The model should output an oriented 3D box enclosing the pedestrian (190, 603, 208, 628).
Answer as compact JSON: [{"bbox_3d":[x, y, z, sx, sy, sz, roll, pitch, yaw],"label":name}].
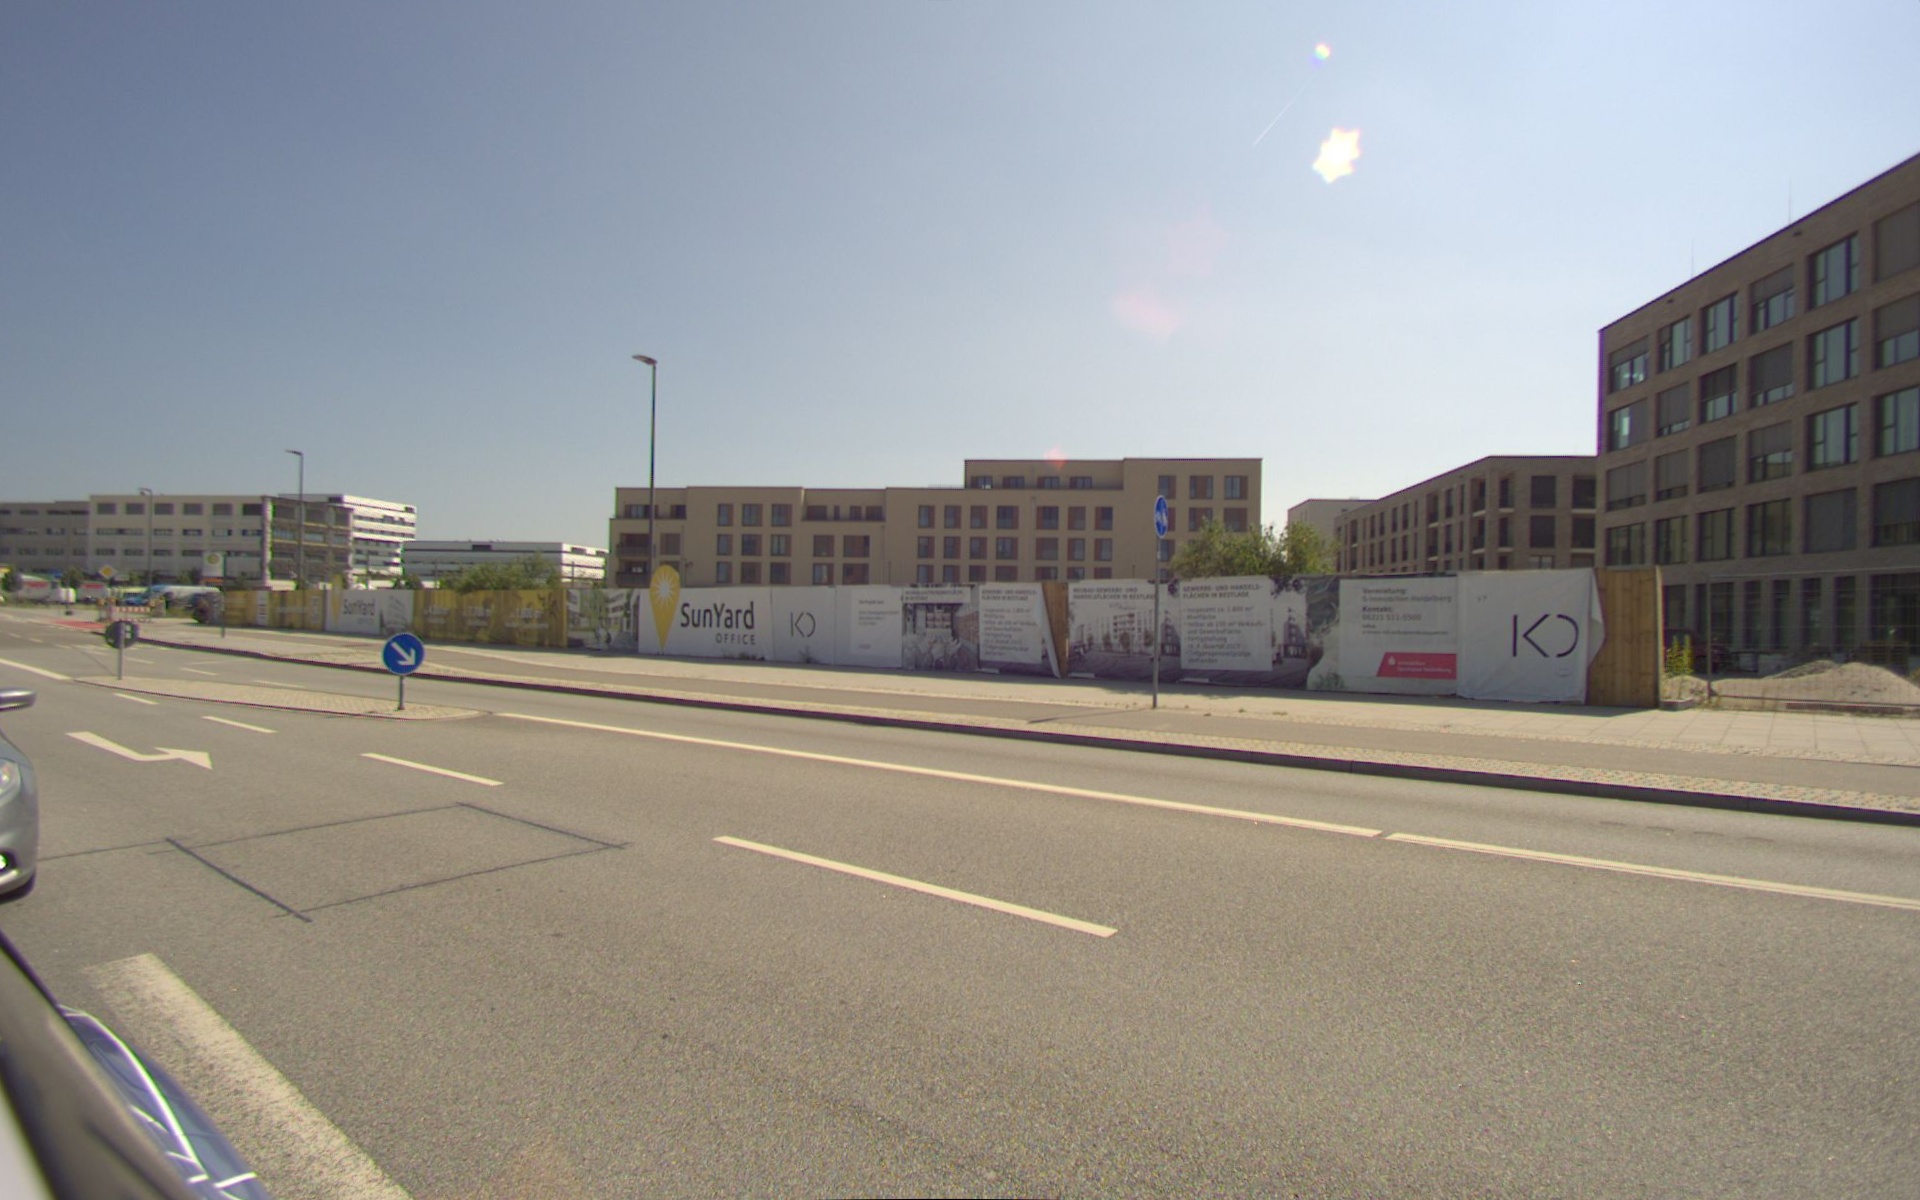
[{"bbox_3d":[-48.540,0.971,64.561,0.610,1.598,0.703,-1,0,5],"label":"pedestrian"}]

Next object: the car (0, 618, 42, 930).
[{"bbox_3d":[-6.329,0.806,5.325,4.134,1.390,1.762,-1,0,41],"label":"car"}]
